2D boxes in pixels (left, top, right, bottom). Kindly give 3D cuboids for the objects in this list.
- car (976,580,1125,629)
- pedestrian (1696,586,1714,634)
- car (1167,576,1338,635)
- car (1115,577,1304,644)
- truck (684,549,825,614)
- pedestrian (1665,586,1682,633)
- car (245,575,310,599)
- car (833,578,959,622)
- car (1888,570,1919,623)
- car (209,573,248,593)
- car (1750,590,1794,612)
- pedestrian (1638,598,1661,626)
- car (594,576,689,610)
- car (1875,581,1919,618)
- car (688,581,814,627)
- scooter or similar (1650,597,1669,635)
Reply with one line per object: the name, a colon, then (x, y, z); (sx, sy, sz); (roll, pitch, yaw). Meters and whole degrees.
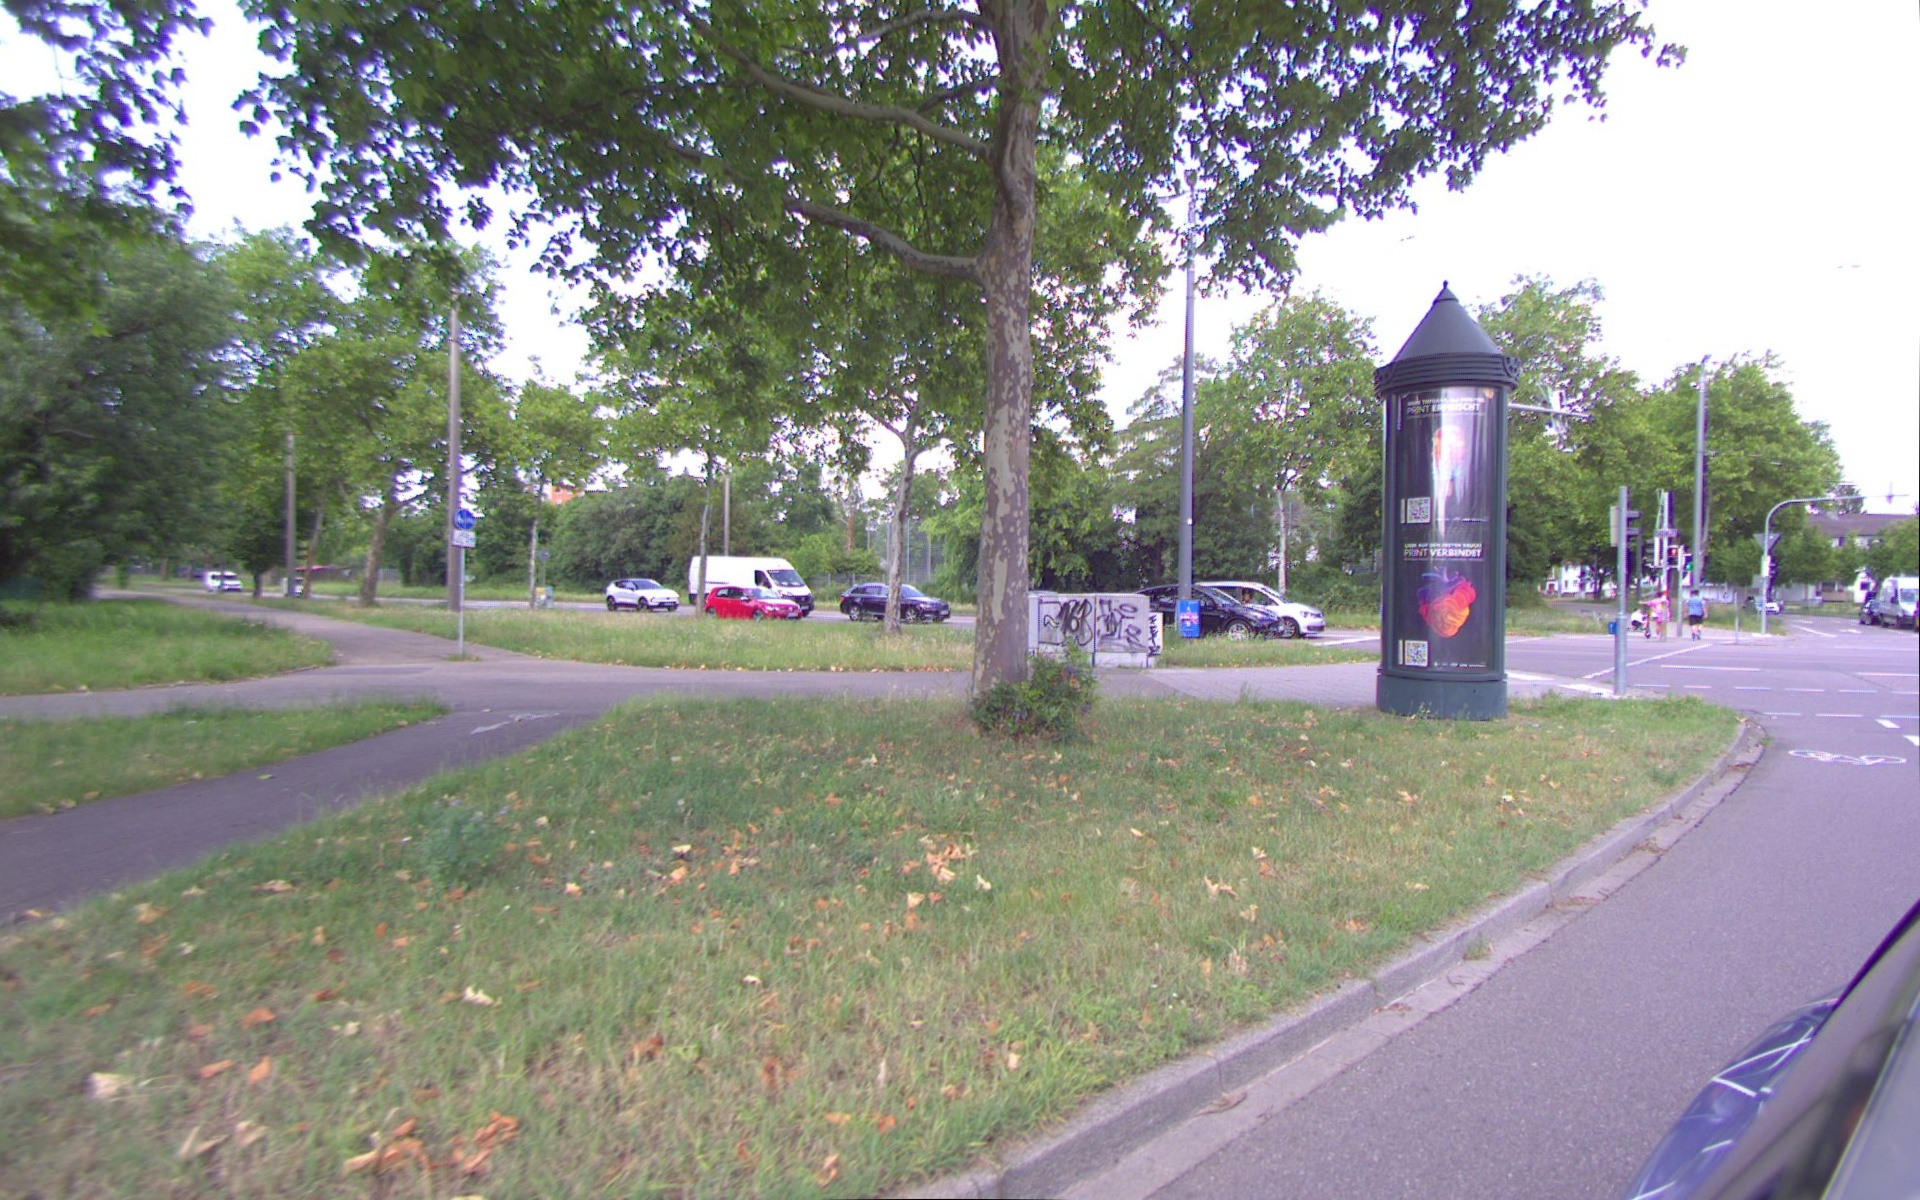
car: (3.037, 0.099, 34.476); (4.718, 1.487, 1.976); (1, 2, 35)
pedestrian: (23.792, 0.316, 32.316); (0.416, 1.527, 0.446); (1, 1, 33)
car: (8.865, 0.110, 30.815); (4.656, 1.630, 1.976); (1, 2, 35)
car: (6.784, 0.219, 27.756); (4.657, 1.630, 1.975); (1, 2, 35)
truck: (-8.931, -0.806, 43.599); (6.468, 2.628, 2.188); (1, 1, 36)
pedestrian: (23.183, 0.306, 32.864); (0.416, 1.527, 0.388); (1, 1, 33)
car: (-45.803, -0.911, 67.885); (4.652, 1.532, 1.977); (1, 2, 33)
car: (-2.479, -0.055, 38.722); (4.656, 1.532, 1.976); (1, 2, 35)
car: (48.421, -0.210, 50.532); (2.225, 2.538, 5.656); (0, 1, 34)
car: (-65.624, -1.507, 90.761); (3.982, 1.727, 1.971); (1, 1, 40)
car: (63.806, 0.039, 79.617); (1.850, 1.665, 4.195); (0, 1, 27)
pedestrian: (26.149, 0.453, 38.374); (0.718, 1.047, 0.890); (1, 1, 35)
car: (-15.475, -0.354, 49.049); (4.656, 1.532, 1.976); (1, 2, 35)
car: (51.547, -0.070, 55.258); (1.784, 1.959, 4.315); (0, 1, 34)
car: (-7.797, 0.107, 37.589); (4.656, 1.532, 1.976); (1, 2, 35)
scooter or similar: (22.752, 0.509, 32.930); (0.392, 1.175, 1.104); (1, 1, 30)
